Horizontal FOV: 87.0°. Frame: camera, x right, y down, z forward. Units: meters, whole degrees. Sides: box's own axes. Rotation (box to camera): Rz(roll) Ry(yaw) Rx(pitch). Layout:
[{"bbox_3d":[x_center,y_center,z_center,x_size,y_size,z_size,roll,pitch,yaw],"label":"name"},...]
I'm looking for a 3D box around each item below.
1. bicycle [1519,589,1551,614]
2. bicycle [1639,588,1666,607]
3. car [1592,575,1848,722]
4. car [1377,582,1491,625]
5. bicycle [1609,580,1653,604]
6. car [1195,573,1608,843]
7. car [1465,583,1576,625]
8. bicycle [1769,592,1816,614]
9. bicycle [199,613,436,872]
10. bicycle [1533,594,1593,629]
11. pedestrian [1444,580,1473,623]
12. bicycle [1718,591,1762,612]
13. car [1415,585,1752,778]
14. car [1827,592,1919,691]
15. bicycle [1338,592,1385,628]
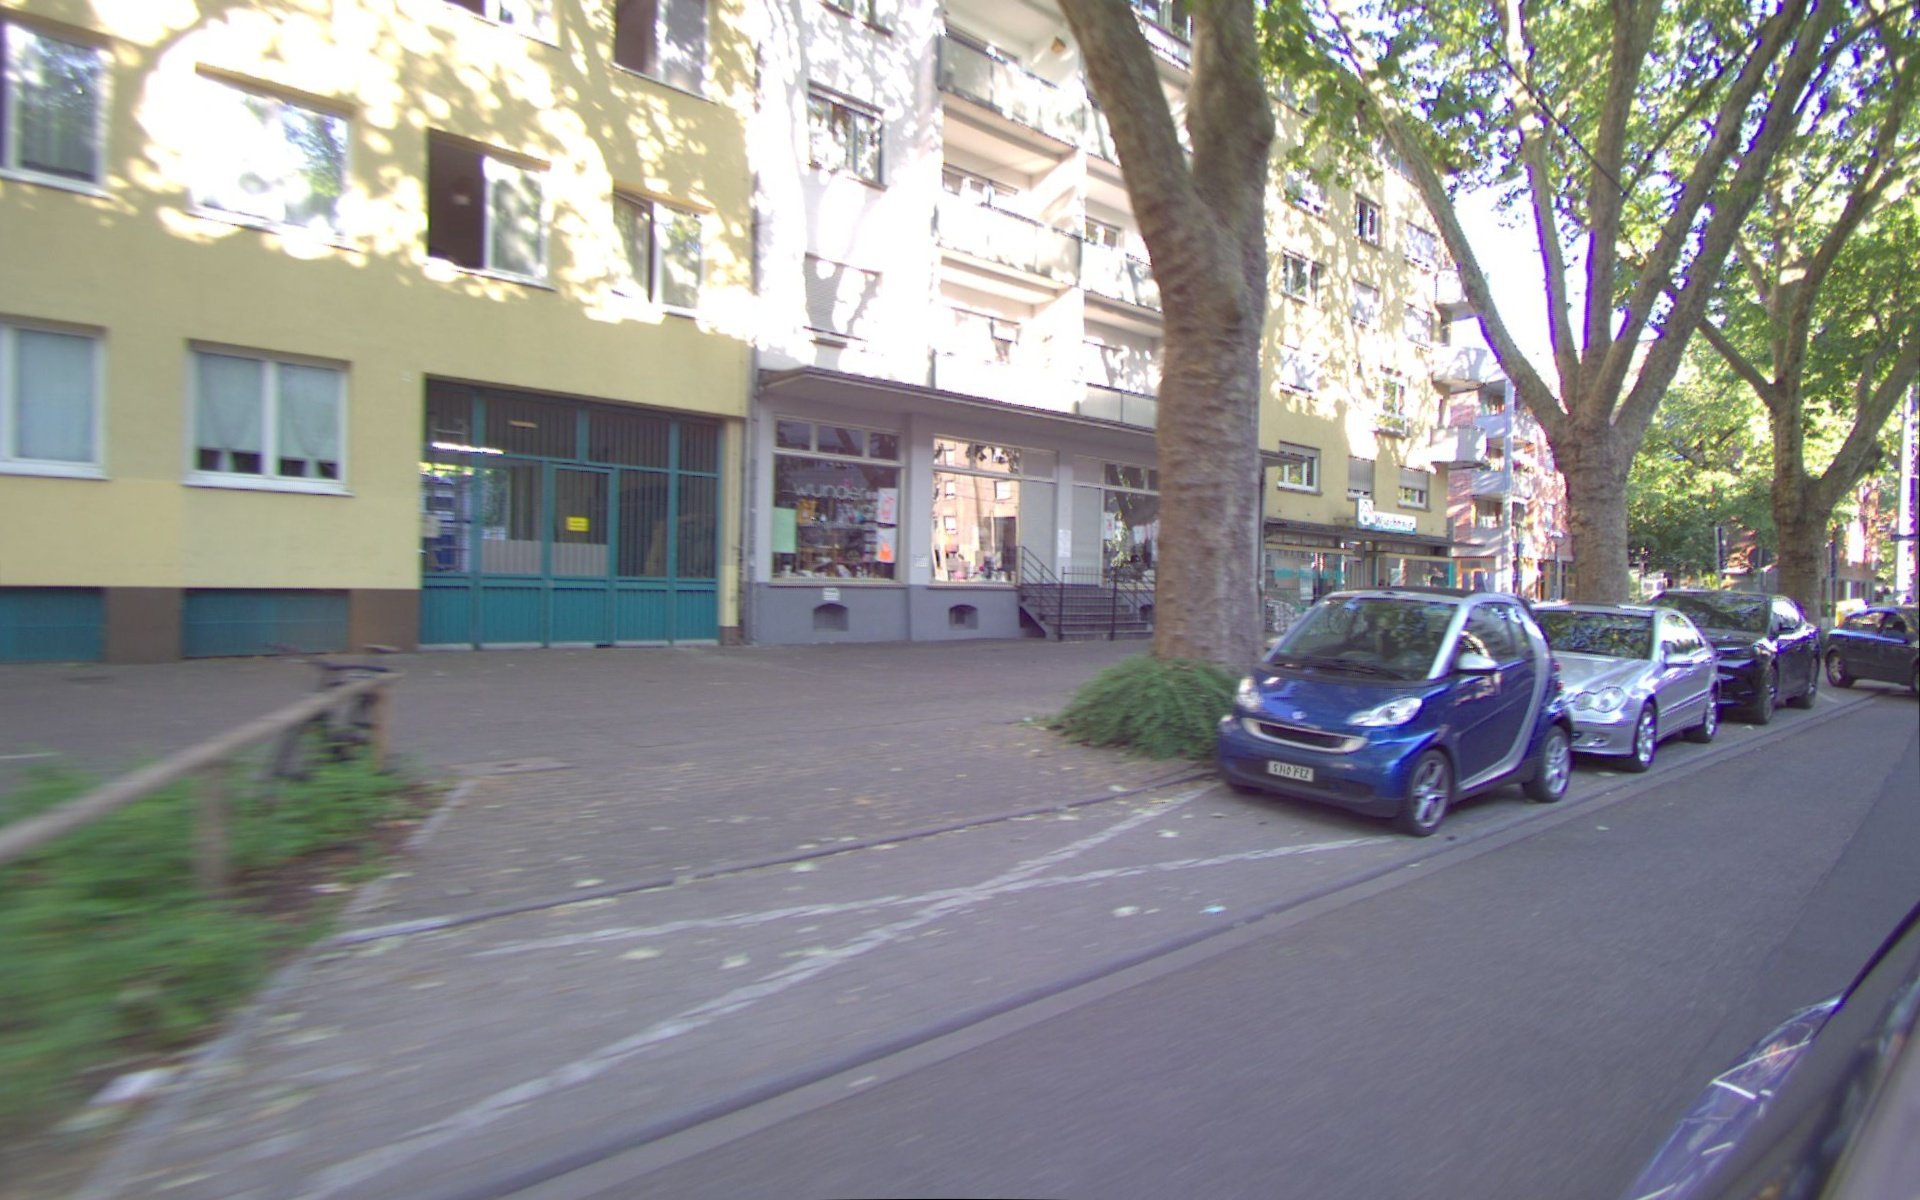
[{"bbox_3d":[27.995,0.064,49.261,1.946,1.171,0.638,0,3,-38],"label":"bicycle"},{"bbox_3d":[46.218,-0.165,67.539,1.997,1.171,0.709,1,2,-31],"label":"bicycle"},{"bbox_3d":[10.470,0.503,13.802,4.700,1.622,1.861,-1,3,-42],"label":"car"},{"bbox_3d":[19.684,0.127,42.149,1.832,1.572,3.870,4,0,-40],"label":"car"},{"bbox_3d":[36.525,-0.436,55.113,0.560,1.171,1.939,1,3,-24],"label":"bicycle"},{"bbox_3d":[3.277,0.597,7.400,2.857,1.537,1.568,-1,3,-38],"label":"car"},{"bbox_3d":[24.855,0.140,44.959,1.833,1.714,3.870,0,2,-40],"label":"car"},{"bbox_3d":[49.616,0.182,60.321,0.560,1.171,2.041,1,3,-29],"label":"bicycle"},{"bbox_3d":[-3.433,0.665,5.589,0.500,1.018,1.975,1,4,-14],"label":"bicycle"},{"bbox_3d":[21.806,0.401,36.641,1.781,1.171,0.738,3,2,29],"label":"bicycle"},{"bbox_3d":[18.452,0.043,37.448,0.677,1.558,0.703,1,1,1],"label":"pedestrian"},{"bbox_3d":[47.966,0.055,62.235,0.561,1.171,2.039,1,3,-34],"label":"bicycle"},{"bbox_3d":[6.518,0.619,10.340,4.527,1.453,1.819,-1,3,-44],"label":"car"},{"bbox_3d":[15.763,0.673,15.828,1.847,1.455,4.201,2,2,19],"label":"car"},{"bbox_3d":[11.702,0.276,29.477,1.751,1.009,0.571,0,3,-45],"label":"bicycle"}]
